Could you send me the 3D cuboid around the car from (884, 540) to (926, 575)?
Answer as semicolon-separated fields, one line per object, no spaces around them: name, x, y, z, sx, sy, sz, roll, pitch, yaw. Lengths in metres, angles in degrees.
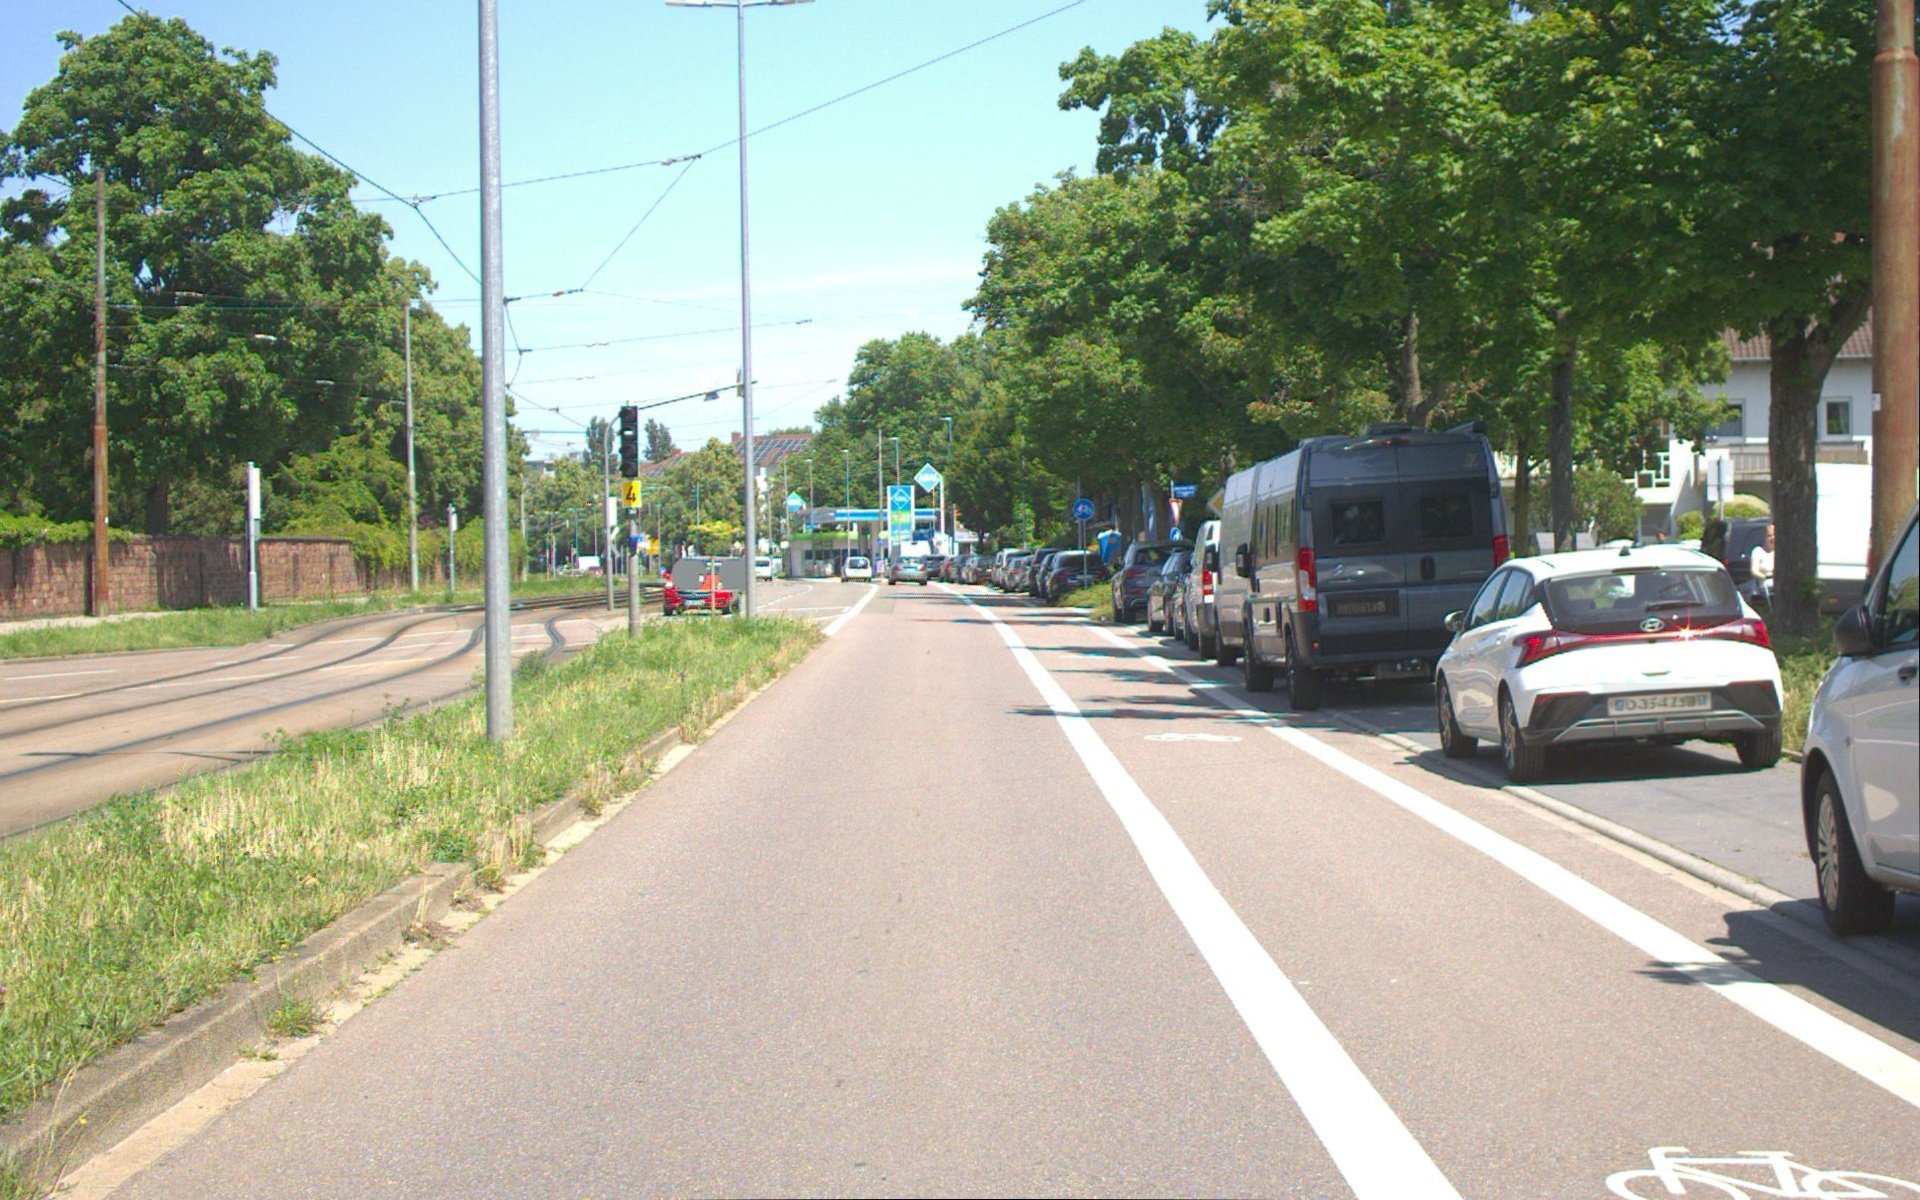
car;-2.699;-2.100;168.247;1.755;1.625;4.324;-3;1;-3

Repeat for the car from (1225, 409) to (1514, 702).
car;4.049;-0.474;35.063;1.997;2.627;6.079;-3;1;-1

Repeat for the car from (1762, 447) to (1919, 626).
car;14.445;-0.849;48.995;5.490;2.451;2.095;1;1;0

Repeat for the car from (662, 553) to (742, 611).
car;-6.555;-0.476;87.707;1.706;1.409;4.282;0;1;0

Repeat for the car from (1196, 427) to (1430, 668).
car;4.214;-0.649;41.998;1.997;2.627;6.143;-3;1;-1

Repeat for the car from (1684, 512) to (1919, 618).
car;14.558;-0.565;56.952;4.692;1.638;1.954;2;1;0

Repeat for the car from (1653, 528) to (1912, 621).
car;14.275;-0.456;59.791;4.021;1.485;1.770;1;1;-2

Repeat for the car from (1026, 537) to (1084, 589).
car;3.310;-1.319;120.545;1.840;1.700;4.626;-3;1;1

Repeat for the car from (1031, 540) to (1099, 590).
car;3.480;-1.183;114.910;1.840;1.524;4.354;-3;1;-3

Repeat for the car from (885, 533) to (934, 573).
car;-3.274;-3.007;222.628;2.000;2.448;6.111;-3;1;-11

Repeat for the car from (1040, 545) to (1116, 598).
car;3.506;-0.874;102.945;1.840;1.431;4.825;-3;1;-3

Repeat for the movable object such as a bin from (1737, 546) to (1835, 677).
movable object such as a bin;8.669;0.117;36.110;0.792;1.348;0.889;-1;1;-1

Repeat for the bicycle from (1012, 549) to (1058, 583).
bicycle;3.069;-1.396;140.426;1.774;1.224;0.683;-5;0;4

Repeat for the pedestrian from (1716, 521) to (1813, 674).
pedestrian;8.656;-0.038;37.034;0.805;1.619;0.943;-1;1;-1

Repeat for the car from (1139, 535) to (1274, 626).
car;4.215;-0.368;59.411;1.712;1.413;4.709;-3;1;-3

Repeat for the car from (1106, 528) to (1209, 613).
car;4.052;-0.601;71.230;1.712;1.627;4.709;-3;0;-1

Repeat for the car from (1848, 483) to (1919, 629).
car;14.411;-0.538;46.061;4.405;1.902;1.955;1;1;-5

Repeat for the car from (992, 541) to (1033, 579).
car;2.556;-1.975;168.630;1.840;1.688;4.778;-3;1;0

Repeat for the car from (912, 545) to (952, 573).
car;-1.736;-2.527;212.527;1.755;1.625;4.325;-3;1;-10

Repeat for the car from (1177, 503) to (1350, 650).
car;4.233;-0.365;48.705;1.997;1.872;5.276;-3;1;1

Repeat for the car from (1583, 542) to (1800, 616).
car;14.354;-0.421;67.631;3.860;1.353;1.770;2;1;0

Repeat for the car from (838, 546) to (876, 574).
car;-6.355;-2.471;212.143;1.755;1.625;4.325;-3;1;-8

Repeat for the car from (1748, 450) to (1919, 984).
car;4.333;0.381;12.047;1.879;1.910;5.125;-3;1;0

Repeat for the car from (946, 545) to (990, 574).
car;0.429;-2.302;196.652;1.706;1.557;4.325;-3;1;-10

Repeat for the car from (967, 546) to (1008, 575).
car;1.477;-2.147;185.479;1.706;1.487;5.039;-3;1;-5

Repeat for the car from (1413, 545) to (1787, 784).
car;4.316;0.375;23.805;1.722;1.423;4.209;-3;1;0

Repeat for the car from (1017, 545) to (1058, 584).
car;3.192;-1.491;142.465;1.519;1.524;3.817;-3;1;-1
